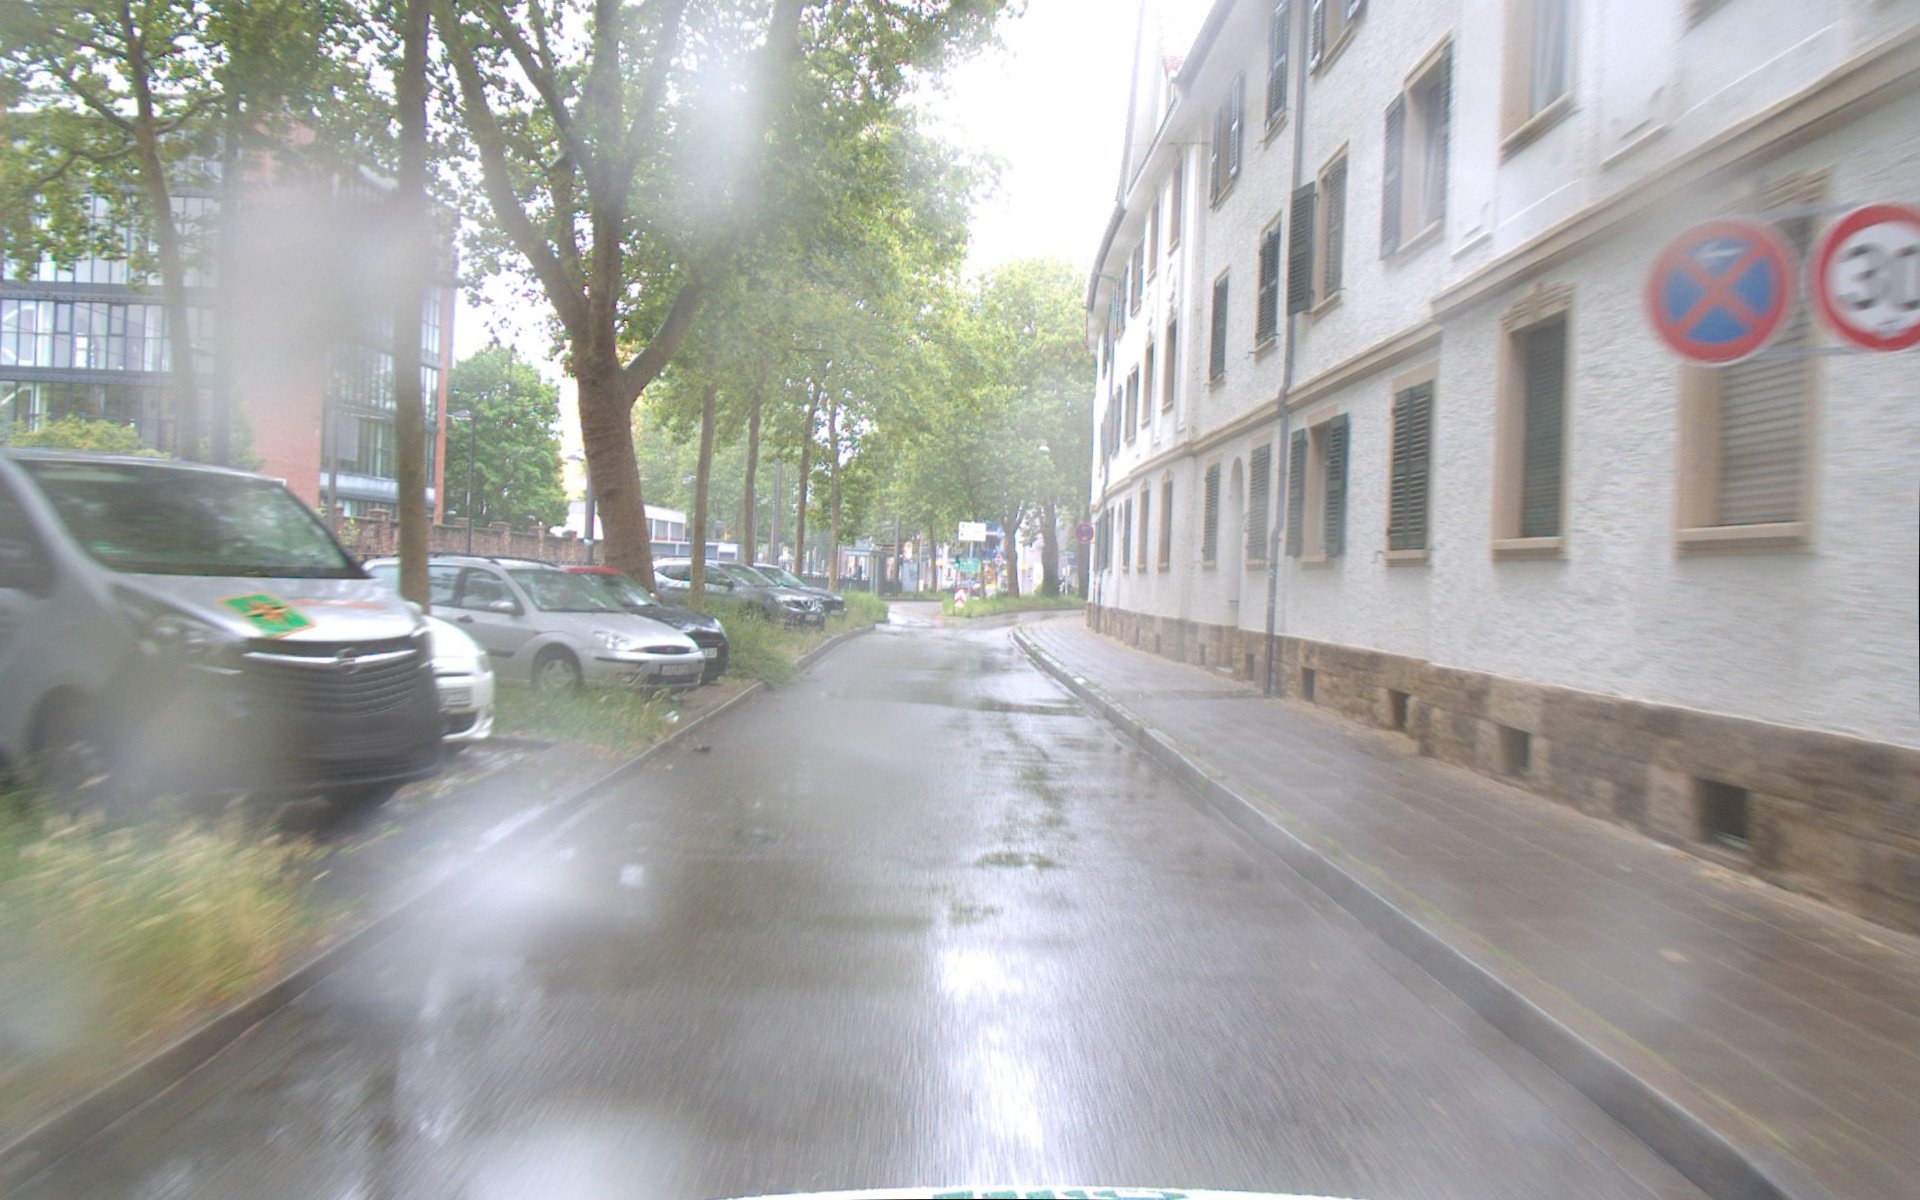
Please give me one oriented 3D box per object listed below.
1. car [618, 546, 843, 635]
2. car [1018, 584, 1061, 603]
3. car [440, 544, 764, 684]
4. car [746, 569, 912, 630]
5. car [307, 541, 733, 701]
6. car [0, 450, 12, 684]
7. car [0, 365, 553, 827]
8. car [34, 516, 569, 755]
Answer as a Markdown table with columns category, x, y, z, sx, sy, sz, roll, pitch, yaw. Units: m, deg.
| category | x | y | z | sx | sy | sz | roll | pitch | yaw |
| --- | --- | --- | --- | --- | --- | --- | --- | --- | --- |
| car | -4.883 | -0.227 | 35.164 | 4.371 | 1.624 | 1.922 | 3 | 2 | 25 |
| car | 7.754 | -0.661 | 161.987 | 3.968 | 1.625 | 1.969 | 3 | 0 | -44 |
| car | -4.452 | 0.124 | 20.449 | 3.735 | 1.547 | 1.719 | 2 | 1 | 30 |
| car | -3.633 | -0.051 | 45.753 | 4.270 | 1.538 | 1.957 | 1 | 3 | 30 |
| car | -4.771 | 0.160 | 17.775 | 4.461 | 1.508 | 1.772 | 2 | 1 | 29 |
| car | -9.316 | -0.302 | 11.997 | 1.953 | 2.048 | 5.028 | 3 | 1 | -1 |
| car | -4.919 | -0.087 | 9.373 | 5.020 | 2.012 | 2.099 | 2 | 1 | 30 |
| car | -4.843 | 0.172 | 12.084 | 3.704 | 1.508 | 1.719 | 2 | 1 | 30 |
